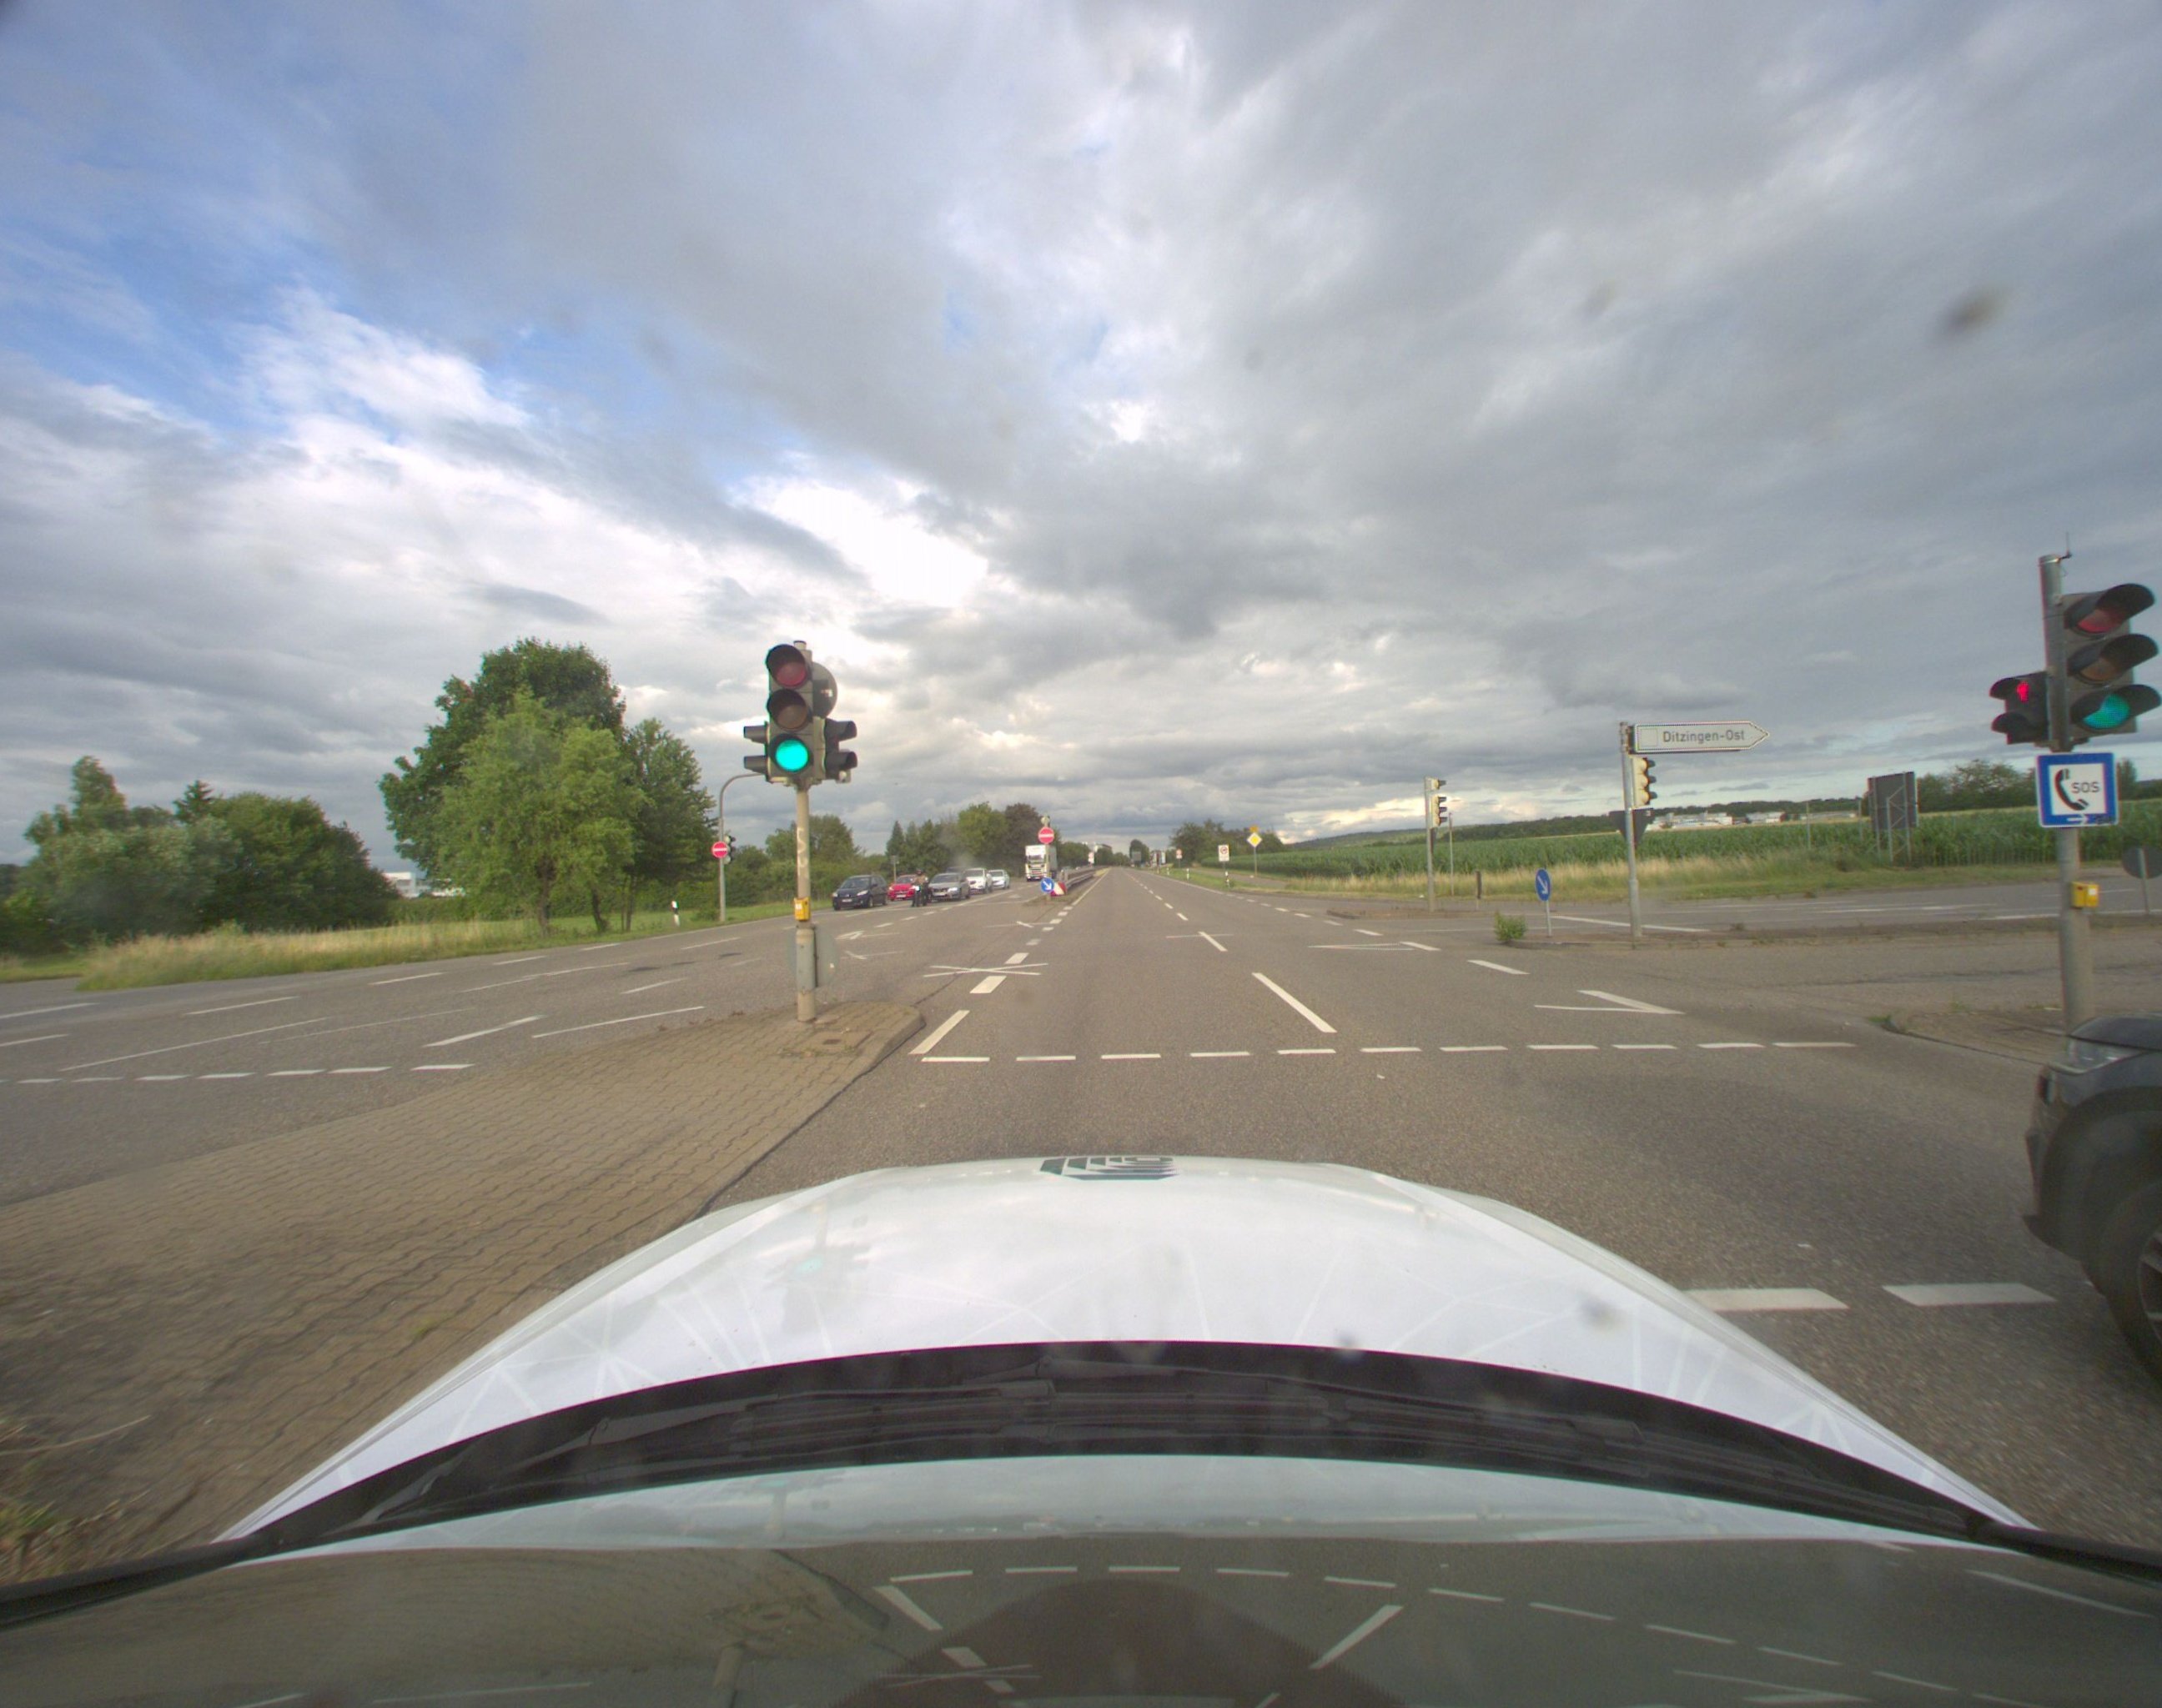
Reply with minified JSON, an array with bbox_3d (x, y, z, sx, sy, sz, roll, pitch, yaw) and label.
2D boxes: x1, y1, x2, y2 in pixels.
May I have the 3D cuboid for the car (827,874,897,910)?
[{"bbox_3d":[-10.608,1.810,39.835,1.900,1.535,4.941,-3,-1,2],"label":"car"}]

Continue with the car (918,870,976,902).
[{"bbox_3d":[-6.860,1.614,42.327,1.900,1.428,5.154,-3,-1,2],"label":"car"}]

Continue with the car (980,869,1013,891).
[{"bbox_3d":[-6.197,1.885,59.977,1.782,1.444,4.162,-3,-1,2],"label":"car"}]

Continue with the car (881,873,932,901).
[{"bbox_3d":[-10.358,1.925,48.657,1.900,1.465,4.186,-3,-1,2],"label":"car"}]

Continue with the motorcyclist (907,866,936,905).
[{"bbox_3d":[-7.191,1.412,36.781,0.913,1.709,1.276,-3,-1,2],"label":"motorcyclist"}]

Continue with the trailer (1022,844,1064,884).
[{"bbox_3d":[-4.314,1.174,96.597,3.451,4.150,13.923,-4,-1,2],"label":"trailer"}]

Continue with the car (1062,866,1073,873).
[{"bbox_3d":[-2.581,2.942,155.358,1.782,1.386,4.162,-3,-1,2],"label":"car"}]

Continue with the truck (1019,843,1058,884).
[{"bbox_3d":[-4.600,1.089,90.187,3.461,4.150,6.052,-4,-1,2],"label":"truck"}]

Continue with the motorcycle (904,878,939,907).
[{"bbox_3d":[-7.185,1.722,36.776,0.912,1.203,2.480,-3,-1,3],"label":"motorcycle"}]

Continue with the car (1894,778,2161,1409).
[{"bbox_3d":[3.698,0.606,0.586,1.838,1.650,4.482,0,-1,2],"label":"car"}]

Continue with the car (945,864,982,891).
[{"bbox_3d":[-9.705,1.939,67.584,1.985,2.014,4.950,-3,-1,3],"label":"car"}]

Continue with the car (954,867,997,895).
[{"bbox_3d":[-6.638,1.683,51.717,1.900,1.610,4.407,-3,-1,2],"label":"car"}]
